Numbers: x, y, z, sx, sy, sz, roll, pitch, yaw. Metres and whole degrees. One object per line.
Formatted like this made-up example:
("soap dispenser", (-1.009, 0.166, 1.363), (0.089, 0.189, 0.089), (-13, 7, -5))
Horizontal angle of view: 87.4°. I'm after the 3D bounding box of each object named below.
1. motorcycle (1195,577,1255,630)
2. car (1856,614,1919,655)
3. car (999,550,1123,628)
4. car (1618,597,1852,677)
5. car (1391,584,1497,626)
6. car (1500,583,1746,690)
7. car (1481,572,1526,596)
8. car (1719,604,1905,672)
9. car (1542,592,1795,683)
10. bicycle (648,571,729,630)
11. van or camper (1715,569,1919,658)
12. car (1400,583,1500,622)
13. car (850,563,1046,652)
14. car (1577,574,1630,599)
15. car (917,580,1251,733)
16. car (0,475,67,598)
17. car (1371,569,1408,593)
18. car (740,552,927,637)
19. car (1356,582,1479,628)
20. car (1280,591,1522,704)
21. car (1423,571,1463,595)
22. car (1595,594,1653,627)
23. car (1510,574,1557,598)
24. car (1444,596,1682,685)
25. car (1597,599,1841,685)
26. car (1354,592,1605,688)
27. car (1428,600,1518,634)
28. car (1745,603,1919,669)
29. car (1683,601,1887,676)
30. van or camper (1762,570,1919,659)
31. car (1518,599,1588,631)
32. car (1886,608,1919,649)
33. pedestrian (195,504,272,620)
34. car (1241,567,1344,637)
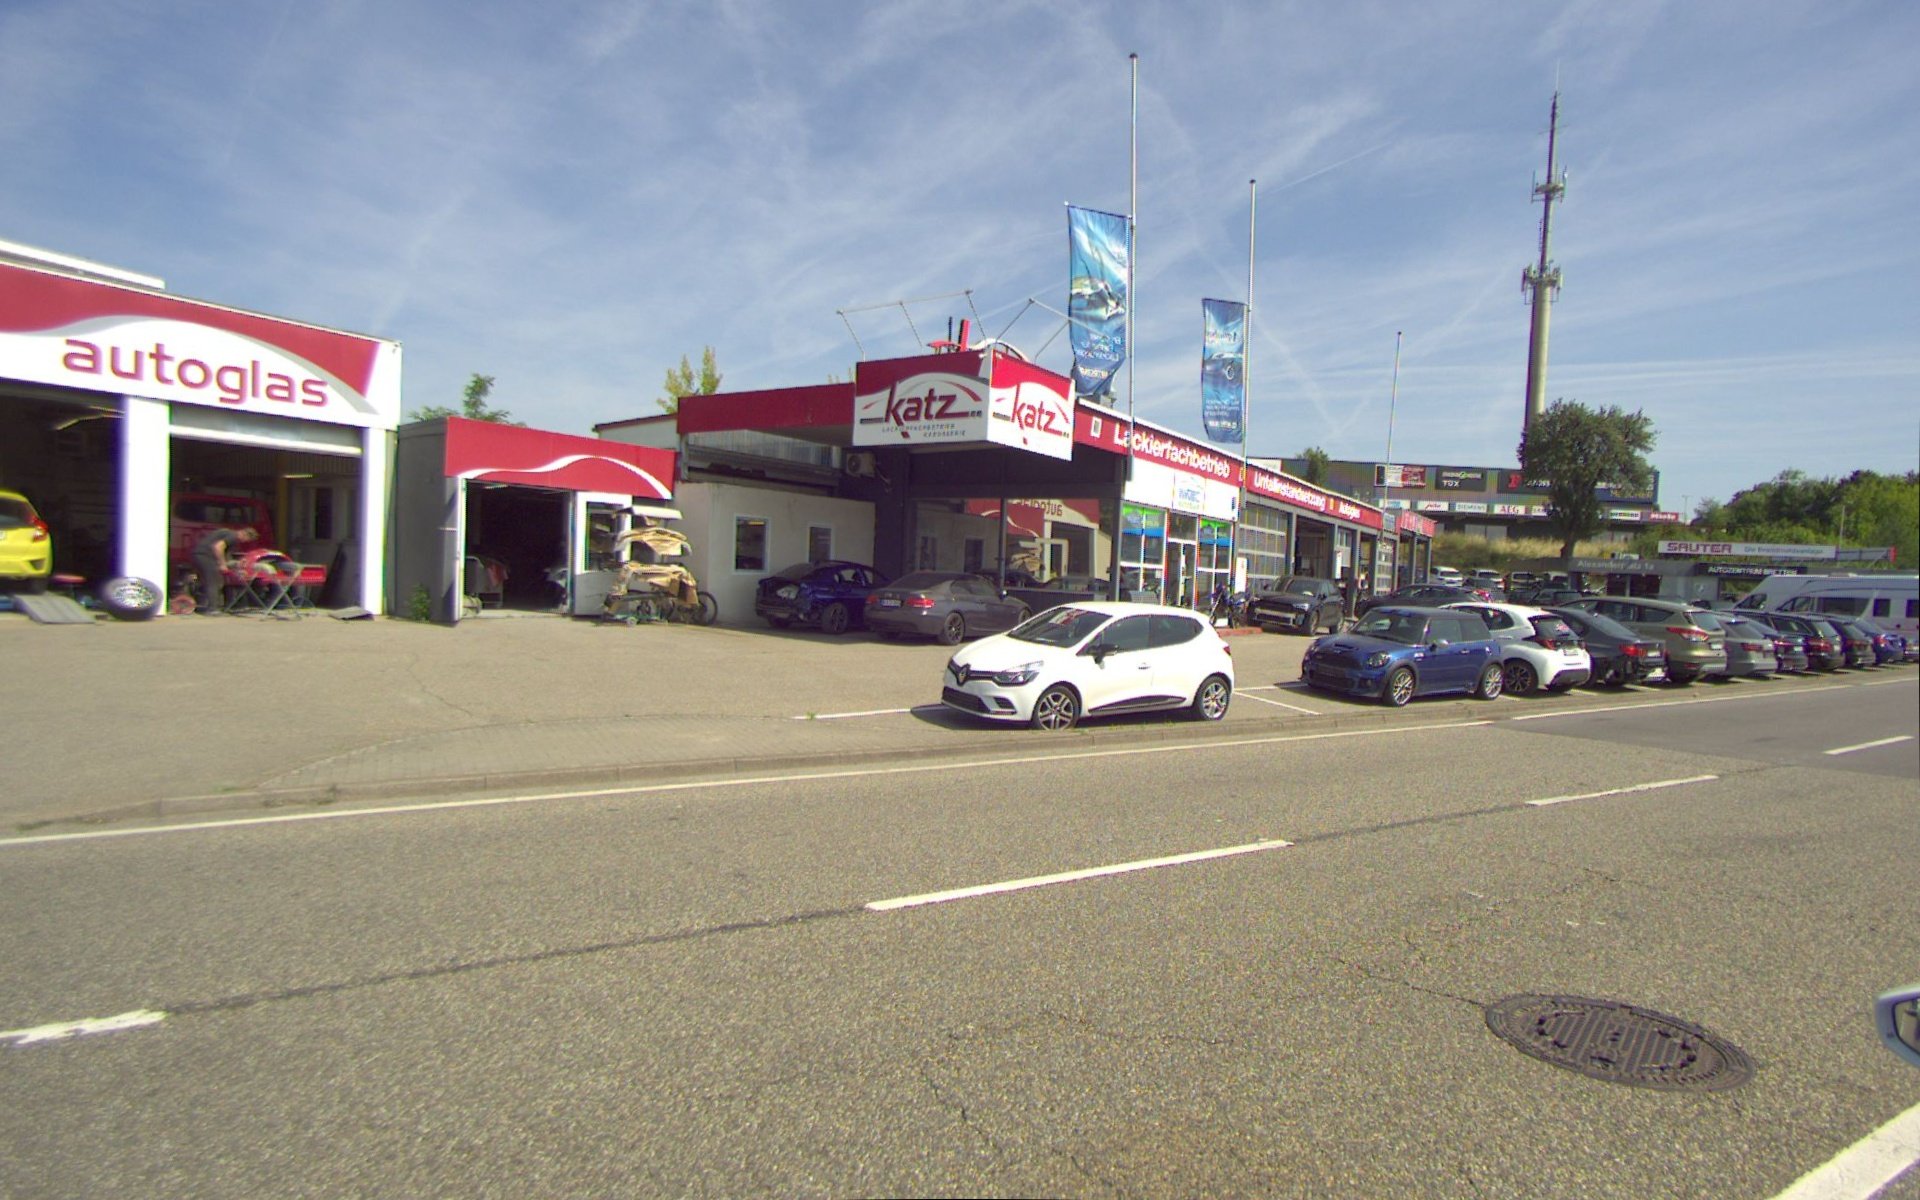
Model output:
("motorcycle", (6.814, 0.093, 25.762), (0.760, 1.278, 2.048), (2, 0, 36))
("car", (36.218, 1.314, 37.520), (1.824, 1.468, 3.792), (1, 1, -34))
("car", (2.714, -0.288, 26.360), (1.675, 1.782, 3.752), (6, 3, 31))
("car", (20.041, 0.876, 26.171), (1.754, 1.505, 4.428), (1, 5, -35))
("car", (20.304, 0.190, 42.149), (3.764, 1.609, 1.764), (2, 1, 34))
("car", (13.950, 0.687, 21.345), (1.788, 1.740, 3.859), (1, 5, -35))
("car", (35.906, -1.047, 66.419), (1.701, 1.470, 3.750), (3, 1, 15))
("car", (24.179, 1.019, 28.624), (1.690, 1.577, 3.683), (-1, 4, -35))
("car", (15.962, 0.770, 22.849), (1.818, 1.505, 4.248), (1, 5, -35))
("bicycle", (-5.572, 0.004, 20.551), (1.966, 0.984, 0.414), (8, 4, 36))
("van or camper", (31.457, 0.384, 36.582), (2.265, 2.912, 5.856), (0, 2, -33))
("car", (21.646, 0.106, 44.424), (3.764, 1.609, 1.764), (2, 1, 34))
("car", (-0.124, 0.051, 20.652), (1.828, 1.525, 4.382), (5, 5, 34))
("car", (40.617, -0.810, 63.481), (1.701, 1.470, 3.750), (3, 1, 15))
("car", (1.619, 0.640, 12.735), (3.956, 1.639, 1.769), (1, 1, -32))
("car", (-15.220, -1.066, 15.223), (3.611, 1.748, 1.734), (6, 4, 35))
("car", (29.236, -1.283, 68.473), (1.701, 1.470, 3.750), (3, 1, 15))
("car", (-2.639, -0.208, 21.720), (1.828, 1.525, 3.988), (7, 6, 33))
("car", (16.839, 0.163, 37.015), (3.883, 1.553, 1.764), (2, 1, 34))
("car", (7.300, 0.733, 16.580), (3.740, 1.514, 1.769), (1, 5, -32))
("car", (32.632, -1.125, 67.907), (1.701, 1.558, 3.750), (3, 1, 15))
("car", (33.903, 0.519, 51.362), (1.735, 1.609, 3.827), (2, 1, 23))
("car", (37.668, -0.875, 66.066), (1.701, 1.470, 3.750), (3, 1, 15))
("car", (11.949, 0.735, 20.093), (1.774, 1.546, 3.683), (1, 0, -35))
("car", (18.192, 0.936, 24.284), (1.780, 1.505, 4.269), (1, 5, -35))
("car", (9.652, 0.675, 18.917), (1.828, 1.546, 3.770), (1, 1, -35))
("car", (26.185, 0.843, 51.416), (1.745, 1.609, 3.804), (1, 1, -25))
("car", (26.131, 1.014, 30.113), (1.691, 1.505, 3.682), (1, 5, -35))
("car", (22.121, 0.978, 27.066), (1.784, 1.505, 3.818), (1, 5, -35))
("van or camper", (30.488, 0.437, 33.639), (2.186, 2.768, 5.215), (1, 1, -32))
("car", (31.407, 0.755, 53.327), (1.733, 1.609, 3.831), (1, 0, 6))
("car", (38.775, 1.160, 39.034), (1.824, 1.560, 3.792), (1, 1, -34))
("pedestrian", (-11.642, -0.602, 16.124), (0.884, 1.786, 0.719), (2, 1, -30))
("car", (9.684, 0.086, 29.046), (1.796, 1.696, 4.118), (8, 3, 31))
